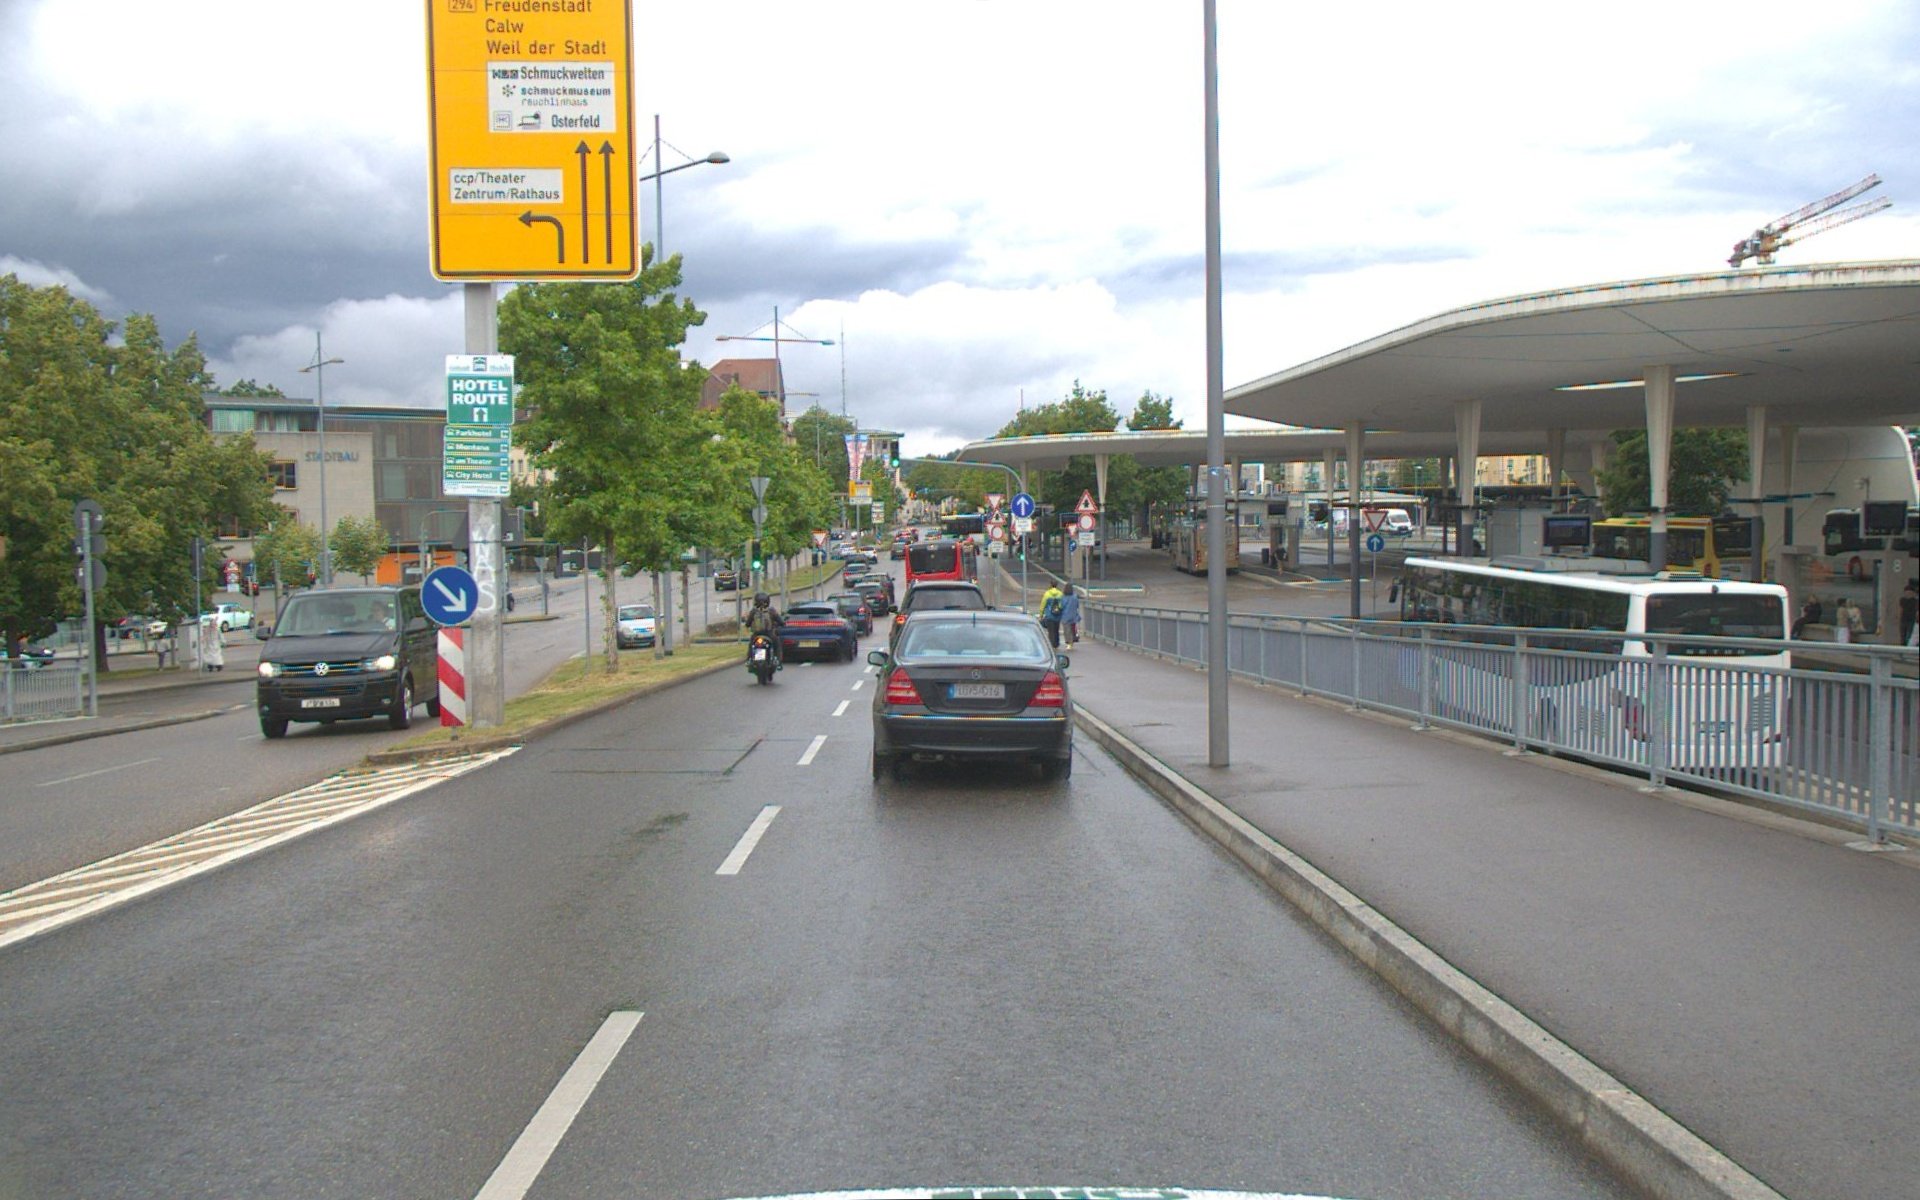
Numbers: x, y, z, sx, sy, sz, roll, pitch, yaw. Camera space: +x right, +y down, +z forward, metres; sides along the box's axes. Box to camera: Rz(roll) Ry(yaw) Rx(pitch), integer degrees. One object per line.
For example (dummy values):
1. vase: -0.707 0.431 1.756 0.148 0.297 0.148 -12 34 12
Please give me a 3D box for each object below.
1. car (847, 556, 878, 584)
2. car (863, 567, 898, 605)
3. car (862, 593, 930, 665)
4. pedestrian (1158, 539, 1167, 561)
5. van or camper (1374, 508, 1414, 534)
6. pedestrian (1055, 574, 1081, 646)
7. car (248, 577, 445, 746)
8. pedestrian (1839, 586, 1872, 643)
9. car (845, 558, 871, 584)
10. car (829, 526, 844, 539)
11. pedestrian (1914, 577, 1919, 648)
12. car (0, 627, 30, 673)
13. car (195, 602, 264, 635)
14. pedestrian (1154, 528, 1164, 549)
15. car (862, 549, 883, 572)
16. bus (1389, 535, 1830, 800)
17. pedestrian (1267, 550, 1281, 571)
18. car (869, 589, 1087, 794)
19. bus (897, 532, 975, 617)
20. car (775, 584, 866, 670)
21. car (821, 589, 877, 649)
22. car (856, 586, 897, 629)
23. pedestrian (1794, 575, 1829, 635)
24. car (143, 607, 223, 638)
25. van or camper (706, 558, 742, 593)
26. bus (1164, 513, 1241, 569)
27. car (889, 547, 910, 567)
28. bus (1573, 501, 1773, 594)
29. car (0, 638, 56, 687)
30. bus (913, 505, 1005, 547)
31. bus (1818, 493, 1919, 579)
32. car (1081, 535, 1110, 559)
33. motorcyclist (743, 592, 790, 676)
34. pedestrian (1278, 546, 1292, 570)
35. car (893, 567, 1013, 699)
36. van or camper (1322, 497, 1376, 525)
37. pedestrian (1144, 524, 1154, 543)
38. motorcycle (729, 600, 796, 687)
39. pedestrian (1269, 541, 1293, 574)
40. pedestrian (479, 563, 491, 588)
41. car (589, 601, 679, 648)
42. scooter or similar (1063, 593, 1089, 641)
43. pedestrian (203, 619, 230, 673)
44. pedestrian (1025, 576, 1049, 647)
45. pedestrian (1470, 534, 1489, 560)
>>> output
1. car: -6.264 -1.901 106.550 1.828 1.713 3.999 1 1 -2
2. car: -4.088 -0.751 85.649 1.544 1.593 3.872 -5 4 -1
3. car: -1.769 0.769 46.703 1.706 1.593 3.872 -5 4 -1
4. pedestrian: 15.779 -3.877 128.716 0.549 1.721 0.613 -2 3 -8
5. van or camper: 38.961 -7.081 148.620 1.953 2.139 5.479 0 1 -2
6. pedestrian: 2.589 0.250 39.735 0.577 1.700 0.580 0 -2 -2
7. car: -8.478 0.789 23.260 1.813 2.001 4.670 -4 0 -12
8. pedestrian: 23.434 0.375 43.266 0.557 1.417 0.558 -2 3 5
9. car: -7.905 -2.260 128.517 1.761 1.940 3.639 1 0 -1
10. car: -16.672 -9.139 224.067 1.744 1.593 3.430 -5 4 -1
11. pedestrian: 23.513 0.298 39.949 0.637 1.683 0.630 -5 4 -41
12. car: -34.914 1.866 57.591 1.697 1.534 4.034 0 4 41
13. car: -40.842 1.022 92.495 1.593 1.521 3.587 -2 3 14
14. pedestrian: 16.674 -5.161 138.608 0.569 1.746 0.559 1 -1 34
15. car: -7.570 -3.433 142.854 1.608 1.836 3.639 1 0 -1
16. bus: 11.086 0.750 30.350 2.787 3.419 12.428 1 4 -2
17. pedestrian: 19.403 -2.461 102.238 0.776 1.247 0.634 -2 3 16
18. car: 0.092 0.693 14.944 1.663 1.487 4.303 -1 1 -1
19. bus: -1.076 -1.323 78.165 3.219 3.347 10.881 -3 3 0
20. car: -3.314 0.596 40.098 1.779 1.597 4.405 -5 4 -1
21. car: -3.800 0.620 57.094 1.642 1.650 3.872 -5 4 -1
22. car: -3.717 0.307 74.109 1.544 1.530 3.872 -4 4 0
23. pedestrian: 23.491 0.133 45.627 0.577 1.617 0.677 1 -1 -5
24. car: -45.069 1.291 95.944 1.731 1.521 3.774 -1 4 37
25. van or camper: -16.237 -1.667 113.647 2.176 2.108 5.272 -4 0 -9
26. bus: 14.906 -3.753 102.475 2.666 3.095 12.091 -3 3 -1
27. car: -5.413 -3.855 149.429 1.828 1.713 3.999 1 1 -2
28. bus: 29.876 -2.387 70.135 2.733 3.312 12.141 -2 4 -3
29. car: -35.581 2.375 60.673 1.697 1.594 3.818 0 4 41
30. bus: -0.211 -7.818 174.860 2.821 4.056 11.693 -5 4 -39
31. bus: 39.759 -2.659 68.055 2.416 3.312 11.973 -3 4 -1
32. car: 10.394 -4.081 127.273 1.677 1.690 4.240 -2 3 -2
33. motorcyclist: -3.375 0.589 28.889 0.628 1.370 0.689 -3 3 2
34. pedestrian: 19.590 -2.508 99.664 0.776 1.401 0.634 -2 3 16
35. car: -0.159 0.519 30.802 1.918 1.907 4.874 -5 4 -1
36. van or camper: 36.404 -8.327 154.924 4.515 2.602 2.118 0 1 -3
37. pedestrian: 15.818 -5.571 138.461 0.568 1.606 0.560 1 -1 28
38. motorcycle: -3.411 0.729 28.700 0.776 1.283 1.856 -4 3 3
39. pedestrian: 17.692 -2.342 91.177 0.709 1.712 1.013 -5 3 -27
40. pedestrian: -33.200 -1.722 115.647 0.464 1.712 0.764 -3 3 5
41. car: -11.391 0.828 57.630 1.619 1.473 3.829 -5 3 -34
42. scooter or similar: 3.109 0.440 44.321 0.454 1.242 1.859 -3 0 -2
43. pedestrian: -22.898 1.417 50.926 0.644 1.597 0.625 -4 1 -26
44. pedestrian: 1.861 0.274 39.914 0.512 1.699 0.580 -1 0 -2
45. pedestrian: 32.143 -3.292 102.336 0.779 1.613 0.907 -1 2 -7
